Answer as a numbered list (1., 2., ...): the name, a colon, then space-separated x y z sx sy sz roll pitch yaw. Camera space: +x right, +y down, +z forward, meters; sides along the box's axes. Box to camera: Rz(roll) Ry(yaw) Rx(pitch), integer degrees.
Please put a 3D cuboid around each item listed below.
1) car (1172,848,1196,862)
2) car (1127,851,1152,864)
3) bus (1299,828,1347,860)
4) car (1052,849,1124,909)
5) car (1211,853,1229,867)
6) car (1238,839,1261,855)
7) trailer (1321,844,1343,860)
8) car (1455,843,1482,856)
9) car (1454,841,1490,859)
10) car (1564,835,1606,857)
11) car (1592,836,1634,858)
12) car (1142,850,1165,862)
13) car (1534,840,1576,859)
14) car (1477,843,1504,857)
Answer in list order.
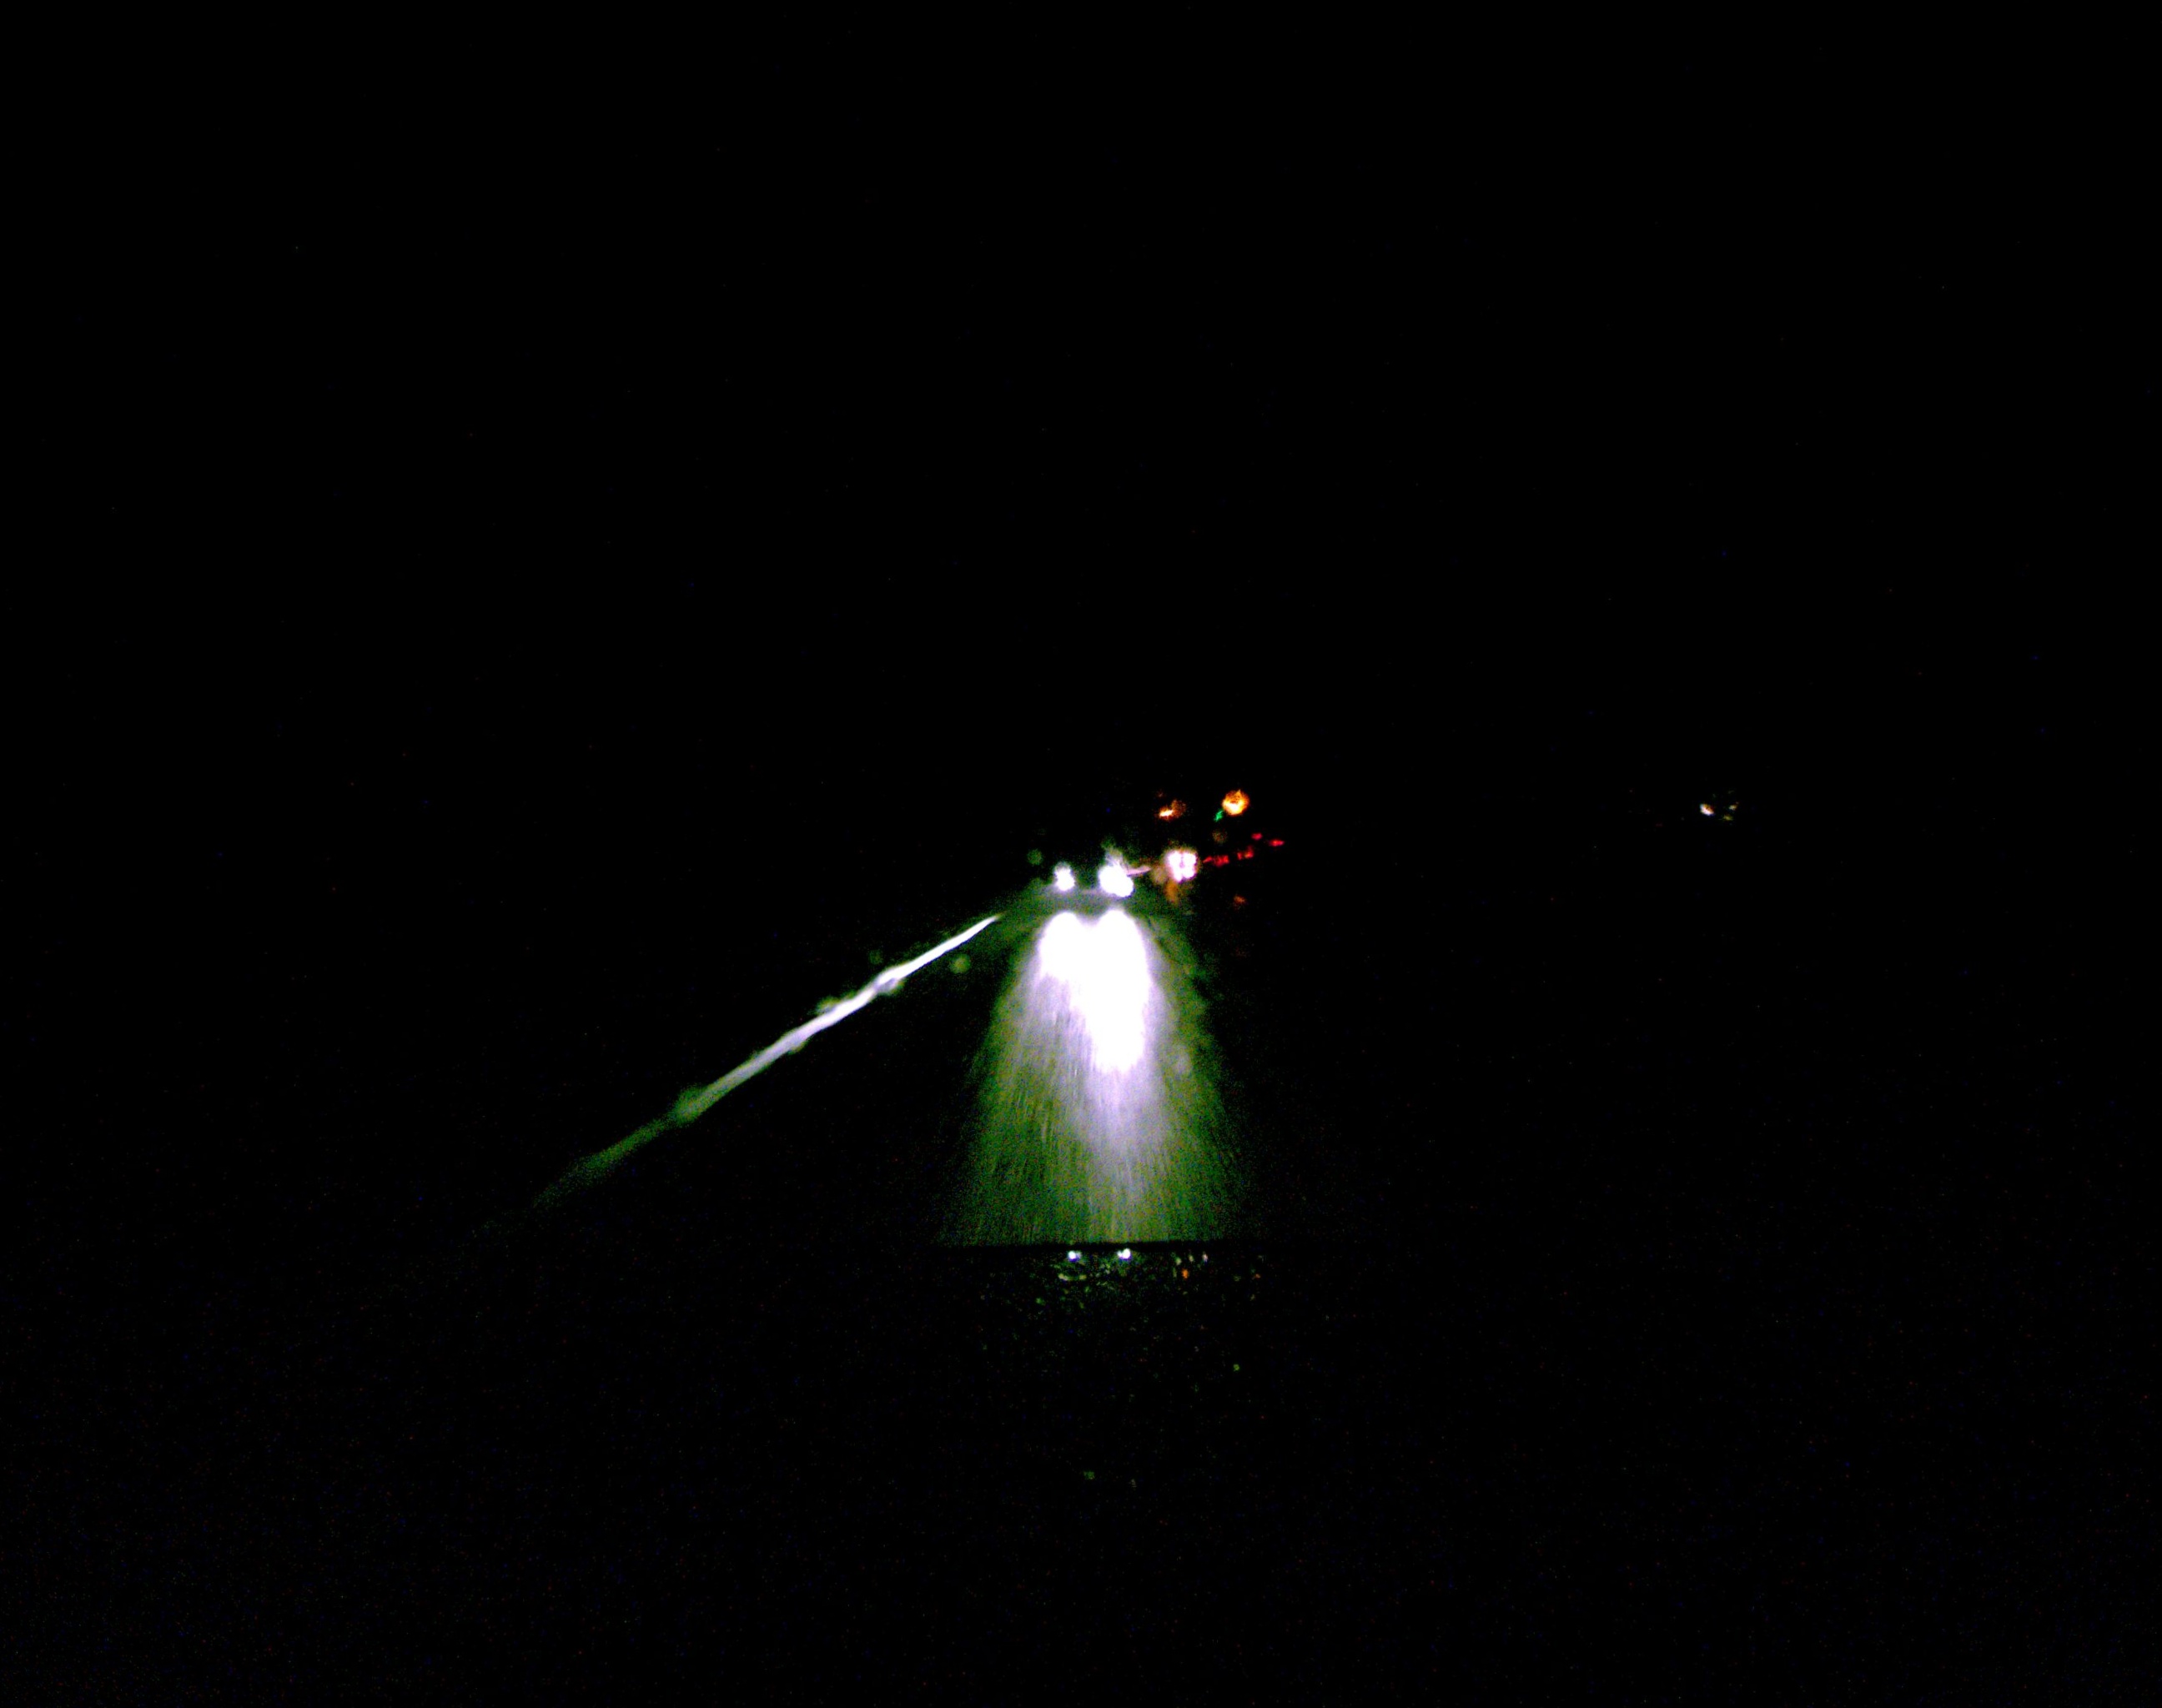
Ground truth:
1. car: 11.481 0.118 84.353 1.927 1.501 4.101 1 1 19
2. car: 7.020 0.398 90.637 1.675 1.557 3.808 -1 0 27
3. bus: 32.238 -1.496 101.992 2.899 3.847 13.057 -2 2 3
4. car: 0.319 0.736 24.746 1.959 1.712 4.001 -2 0 5
5. car: 15.998 0.642 87.269 1.637 1.501 4.100 1 1 16
6. car: 23.803 -0.969 107.165 1.995 2.002 4.852 -3 1 25
7. trailer: 27.706 -0.228 83.892 1.815 1.668 4.104 1 1 12
8. car: 53.108 -0.681 104.092 4.046 1.391 1.855 -6 7 -42
9. car: 42.701 -0.452 83.165 1.940 1.688 4.627 -3 3 7
10. car: 54.375 -0.890 82.011 1.998 2.045 3.999 -3 3 4
11. car: 56.441 -0.748 80.664 1.762 2.045 3.999 -3 3 4
12. car: 9.133 0.250 95.016 1.636 1.390 3.681 -1 1 27
13. car: 51.051 -0.479 81.931 1.940 1.688 4.627 -3 3 7
14. car: 54.904 -0.539 101.893 4.046 1.391 1.855 -6 7 -42
